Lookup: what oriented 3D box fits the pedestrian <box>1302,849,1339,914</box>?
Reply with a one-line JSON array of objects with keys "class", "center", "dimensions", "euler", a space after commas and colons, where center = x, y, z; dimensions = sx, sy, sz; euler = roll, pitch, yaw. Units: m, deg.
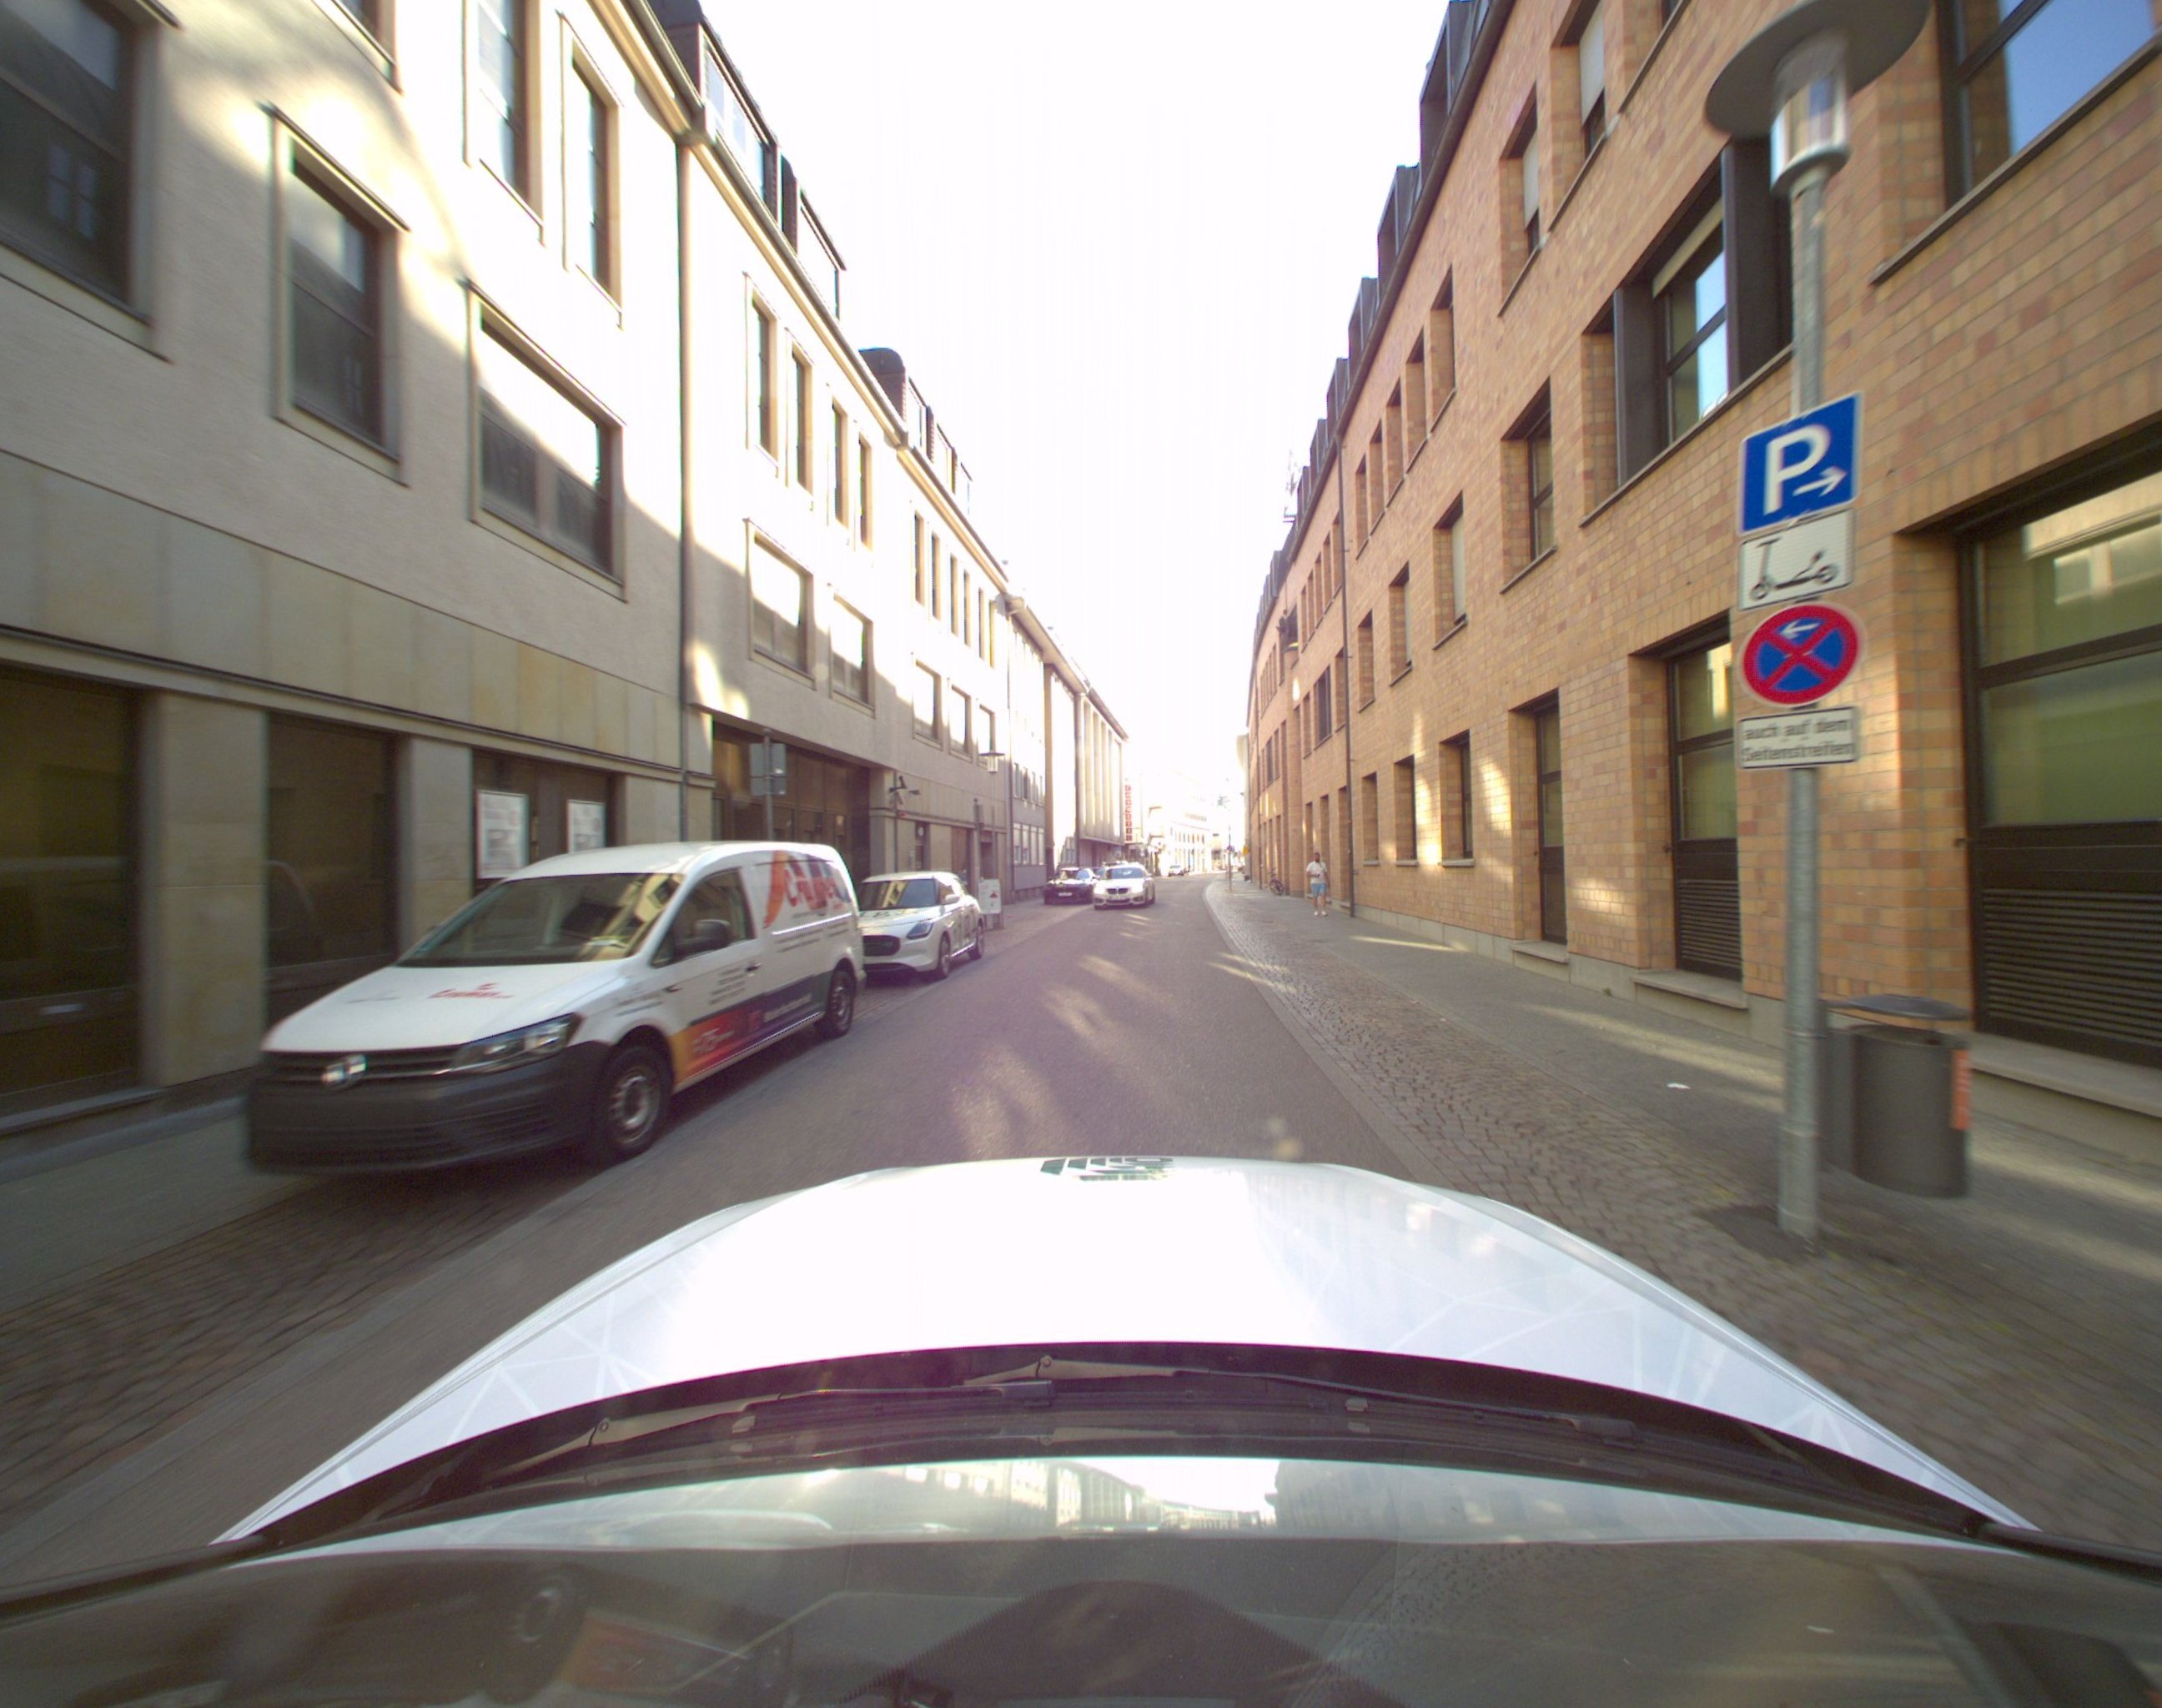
[{"class": "pedestrian", "center": [6.528, 0.748, 22.243], "dimensions": [0.756, 1.716, 0.823], "euler": [-2, -1, 6]}]

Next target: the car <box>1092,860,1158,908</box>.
[{"class": "car", "center": [1.570, 0.972, 27.860], "dimensions": [1.704, 1.517, 4.172], "euler": [-1, -1, 10]}]

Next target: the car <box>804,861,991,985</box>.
[{"class": "car", "center": [-2.564, 0.909, 12.299], "dimensions": [1.662, 1.522, 3.780], "euler": [-3, -1, 4]}]

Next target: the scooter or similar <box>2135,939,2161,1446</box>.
[{"class": "scooter or similar", "center": [2.568, 0.846, 1.514], "dimensions": [0.532, 1.235, 1.427], "euler": [0, 0, 44]}]

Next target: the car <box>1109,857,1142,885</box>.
[{"class": "car", "center": [2.909, 1.081, 52.556], "dimensions": [1.880, 1.742, 4.398], "euler": [-1, -1, 6]}]

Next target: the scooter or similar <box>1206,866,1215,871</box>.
[{"class": "scooter or similar", "center": [21.955, 2.480, 138.223], "dimensions": [0.520, 0.928, 2.241], "euler": [0, -1, 40]}]

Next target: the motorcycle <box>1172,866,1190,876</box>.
[{"class": "motorcycle", "center": [13.295, 2.248, 108.334], "dimensions": [2.376, 1.317, 0.864], "euler": [-1, -1, 10]}]

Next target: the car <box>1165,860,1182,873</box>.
[{"class": "car", "center": [11.124, 1.498, 97.773], "dimensions": [1.725, 1.606, 3.543], "euler": [1, -1, 11]}]

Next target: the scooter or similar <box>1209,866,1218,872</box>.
[{"class": "scooter or similar", "center": [23.155, 2.599, 142.271], "dimensions": [0.520, 0.928, 2.241], "euler": [0, -1, 40]}]

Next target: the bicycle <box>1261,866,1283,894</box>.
[{"class": "bicycle", "center": [7.930, 1.056, 33.922], "dimensions": [0.547, 1.103, 1.984], "euler": [-3, -1, 4]}]

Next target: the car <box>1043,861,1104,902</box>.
[{"class": "car", "center": [-0.217, 1.080, 33.113], "dimensions": [1.880, 1.530, 4.737], "euler": [-1, -1, 7]}]

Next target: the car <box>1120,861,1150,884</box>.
[{"class": "car", "center": [3.828, 1.291, 57.257], "dimensions": [1.638, 1.460, 4.010], "euler": [-3, -1, 10]}]

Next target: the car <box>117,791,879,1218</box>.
[{"class": "car", "center": [-3.216, 0.704, 5.985], "dimensions": [1.890, 1.858, 4.739], "euler": [-2, -1, 4]}]

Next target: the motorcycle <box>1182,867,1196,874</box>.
[{"class": "motorcycle", "center": [13.912, 2.150, 104.736], "dimensions": [1.679, 0.859, 0.597], "euler": [1, -2, 15]}]

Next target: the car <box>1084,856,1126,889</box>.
[{"class": "car", "center": [1.365, 0.987, 44.489], "dimensions": [1.880, 1.676, 4.562], "euler": [-1, -1, 7]}]
